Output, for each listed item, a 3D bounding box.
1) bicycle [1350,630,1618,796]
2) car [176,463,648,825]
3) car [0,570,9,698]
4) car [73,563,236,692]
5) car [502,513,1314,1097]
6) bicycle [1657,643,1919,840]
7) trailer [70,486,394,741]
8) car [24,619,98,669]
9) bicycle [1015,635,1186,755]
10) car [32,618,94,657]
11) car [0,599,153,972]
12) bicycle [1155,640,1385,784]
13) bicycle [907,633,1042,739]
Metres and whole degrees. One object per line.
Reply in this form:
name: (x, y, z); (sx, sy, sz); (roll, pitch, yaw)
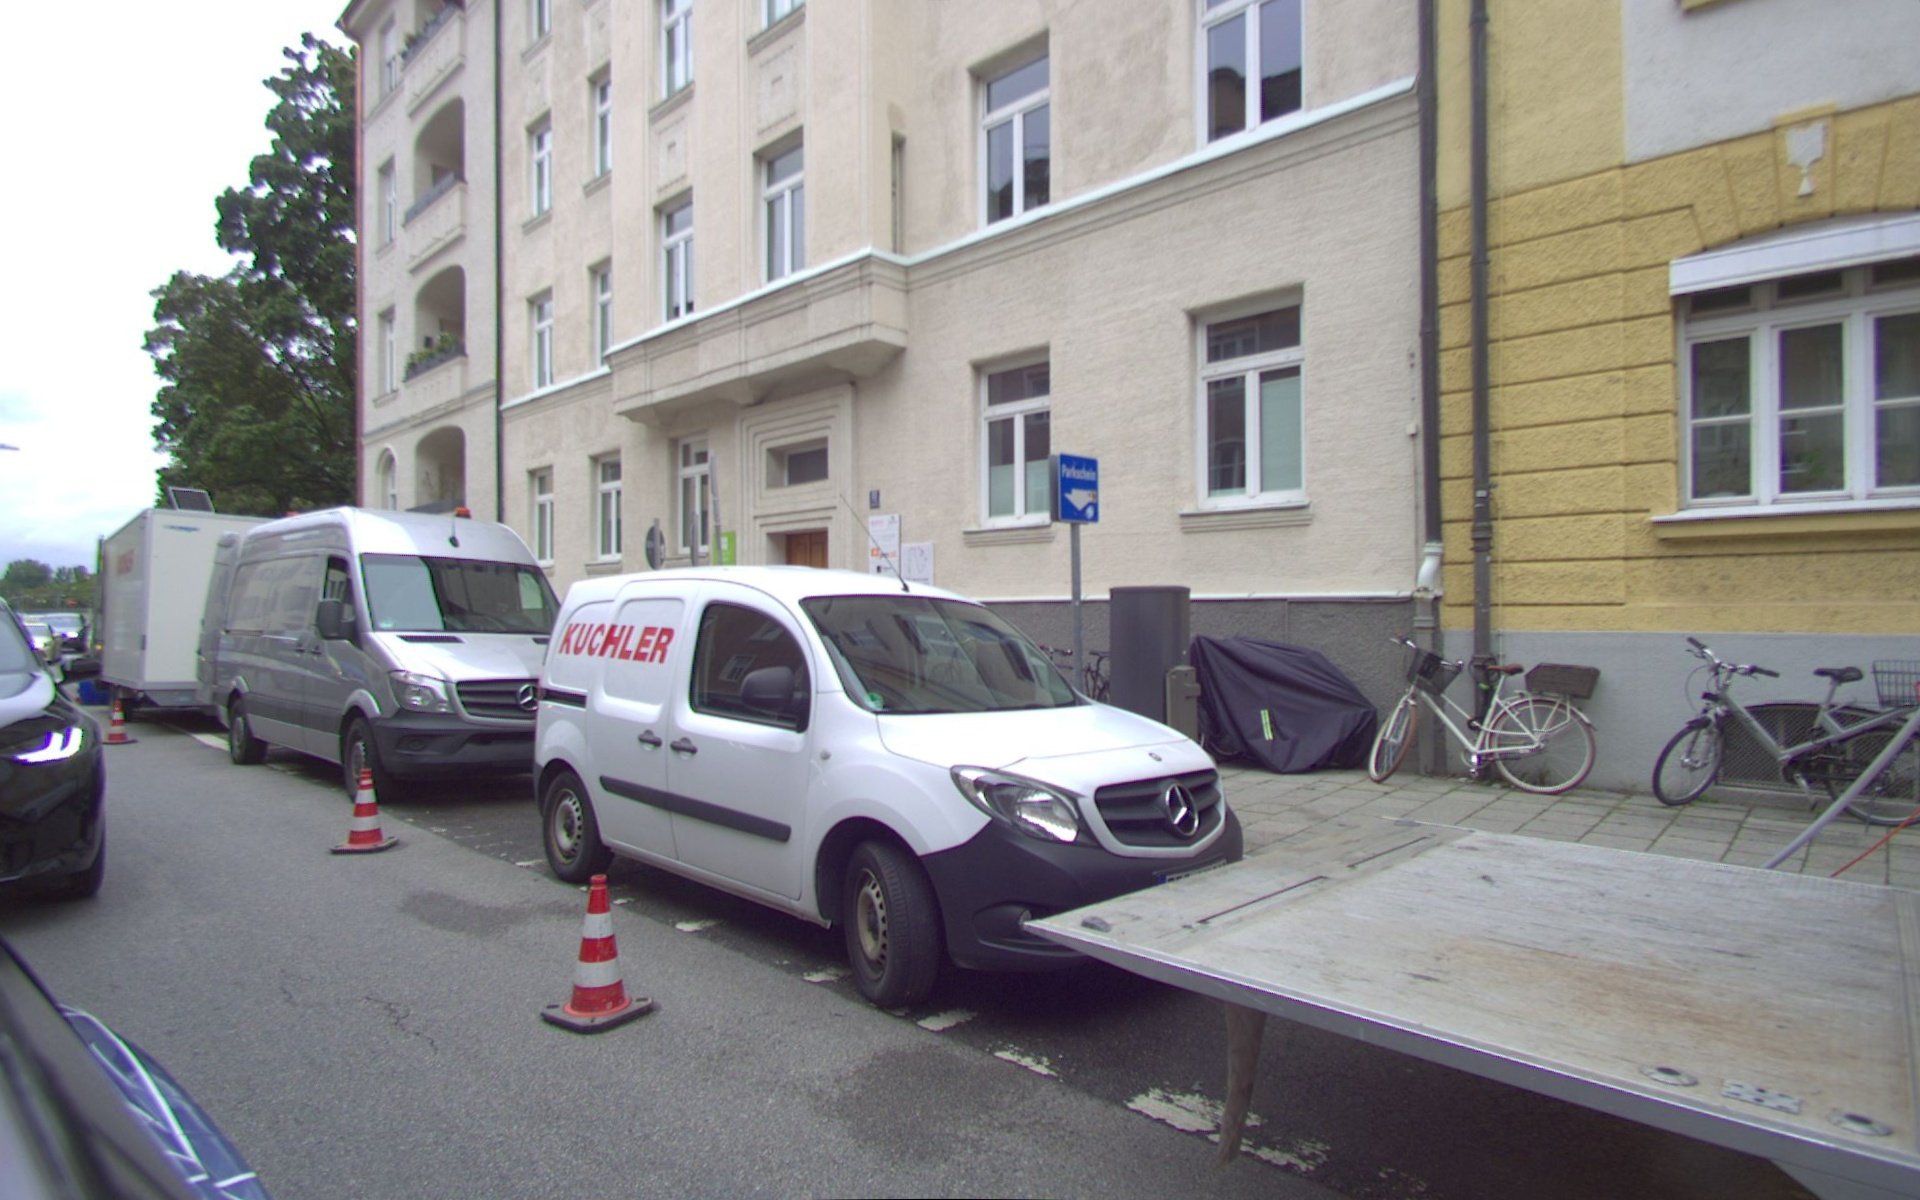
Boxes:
bicycle: (4.021, 0.814, 7.865); (1.766, 1.112, 0.501); (-1, 2, 43)
car: (-5.987, 0.450, 10.402); (6.876, 2.607, 2.033); (-2, -6, 43)
car: (-21.613, 0.678, 21.404); (6.236, 2.510, 1.978); (0, 0, 45)
car: (-18.905, 0.628, 23.584); (6.796, 2.592, 2.117); (-2, -2, 44)
car: (-0.613, 0.693, 5.271); (4.328, 1.792, 1.743); (-1, -3, 44)
bicycle: (5.544, 0.856, 6.427); (1.766, 1.112, 0.601); (-1, -1, 43)
trailer: (-11.448, 0.355, 15.550); (2.771, 2.992, 7.604); (5, -5, -44)
car: (-32.413, 1.552, 36.487); (1.791, 1.601, 4.169); (7, -5, -42)
bicycle: (1.415, 0.938, 10.478); (1.864, 1.112, 0.396); (-1, -1, 43)
car: (-38.561, 1.596, 43.570); (1.791, 1.474, 4.170); (7, -5, -41)
car: (-5.930, 0.784, 5.410); (4.294, 1.577, 1.895); (0, -1, 43)
bicycle: (2.632, 0.916, 8.719); (1.859, 1.112, 0.397); (-1, -1, 34)
bicycle: (0.135, 0.949, 11.670); (1.736, 1.112, 0.423); (-1, -1, 44)
